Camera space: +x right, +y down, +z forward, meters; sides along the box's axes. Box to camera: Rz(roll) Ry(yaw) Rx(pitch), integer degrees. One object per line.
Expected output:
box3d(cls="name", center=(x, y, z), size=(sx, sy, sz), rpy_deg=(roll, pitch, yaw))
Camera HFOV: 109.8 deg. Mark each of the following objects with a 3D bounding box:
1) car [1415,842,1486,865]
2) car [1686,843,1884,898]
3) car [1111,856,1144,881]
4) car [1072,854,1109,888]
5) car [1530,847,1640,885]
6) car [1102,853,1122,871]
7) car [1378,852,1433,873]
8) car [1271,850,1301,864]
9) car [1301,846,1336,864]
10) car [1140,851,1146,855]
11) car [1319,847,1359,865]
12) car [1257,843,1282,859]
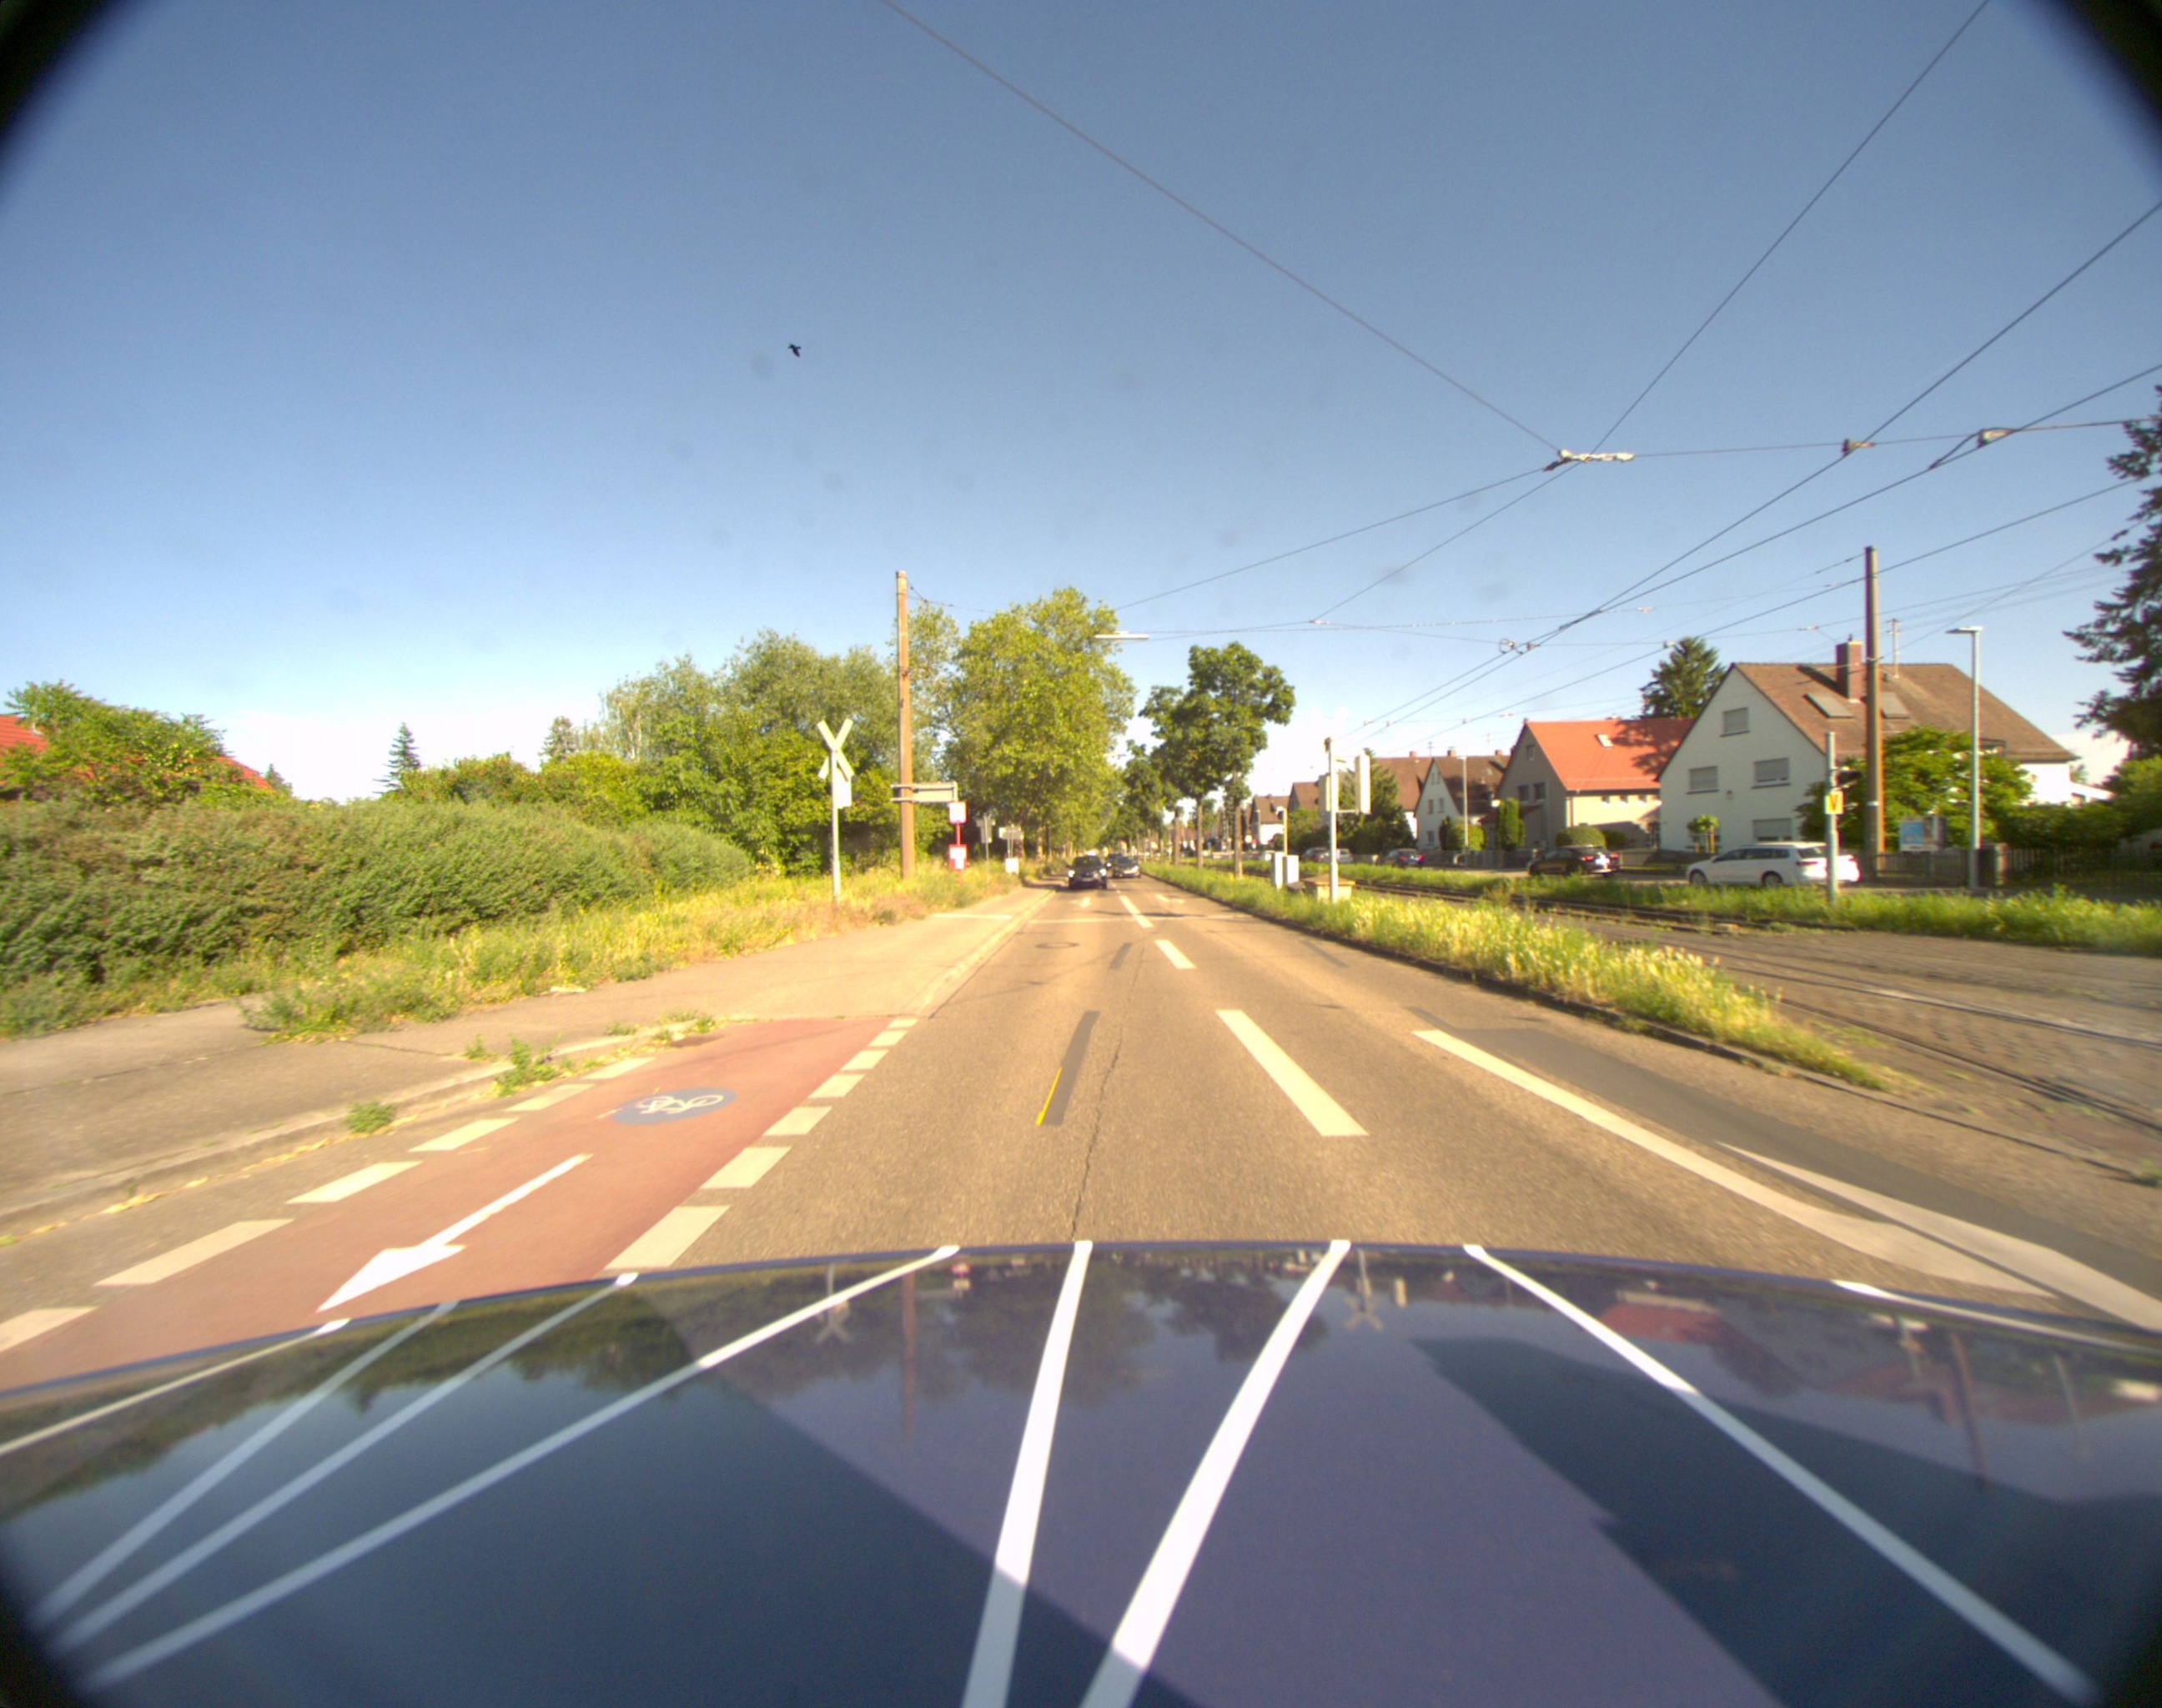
box3d(cls="car", center=(28.114, -0.078, 57.929), size=(4.488, 1.462, 1.747), rpy_deg=(-3, 1, -1))
box3d(cls="car", center=(21.751, 0.450, 23.801), size=(1.888, 1.464, 4.613), rpy_deg=(-3, 1, 0))
box3d(cls="car", center=(3.011, 0.920, 49.869), size=(1.780, 1.441, 4.333), rpy_deg=(-2, 0, -1))
box3d(cls="car", center=(0.428, 0.786, 36.730), size=(1.673, 1.529, 3.586), rpy_deg=(-2, 0, 0))
box3d(cls="car", center=(21.895, 0.475, 33.241), size=(1.912, 1.457, 4.440), rpy_deg=(-3, 1, 1))
box3d(cls="car", center=(2.937, 0.732, 72.424), size=(1.779, 1.620, 4.288), rpy_deg=(-1, 0, 1))
box3d(cls="car", center=(22.185, 0.545, 52.060), size=(1.998, 1.363, 4.310), rpy_deg=(-2, 0, 2))
box3d(cls="car", center=(22.445, 0.335, 83.290), size=(1.998, 1.333, 4.982), rpy_deg=(-3, 1, 1))
box3d(cls="car", center=(22.338, 0.082, 71.583), size=(1.888, 1.552, 4.537), rpy_deg=(-3, 0, 1))
box3d(cls="car", center=(21.414, -0.322, 260.858), size=(1.731, 1.581, 4.000), rpy_deg=(-1, 0, 0))
box3d(cls="car", center=(22.544, 0.173, 66.527), size=(1.888, 1.464, 4.838), rpy_deg=(-3, 0, 2))
box3d(cls="car", center=(22.826, -0.360, 92.126), size=(1.998, 1.852, 4.584), rpy_deg=(-2, 0, 1))
